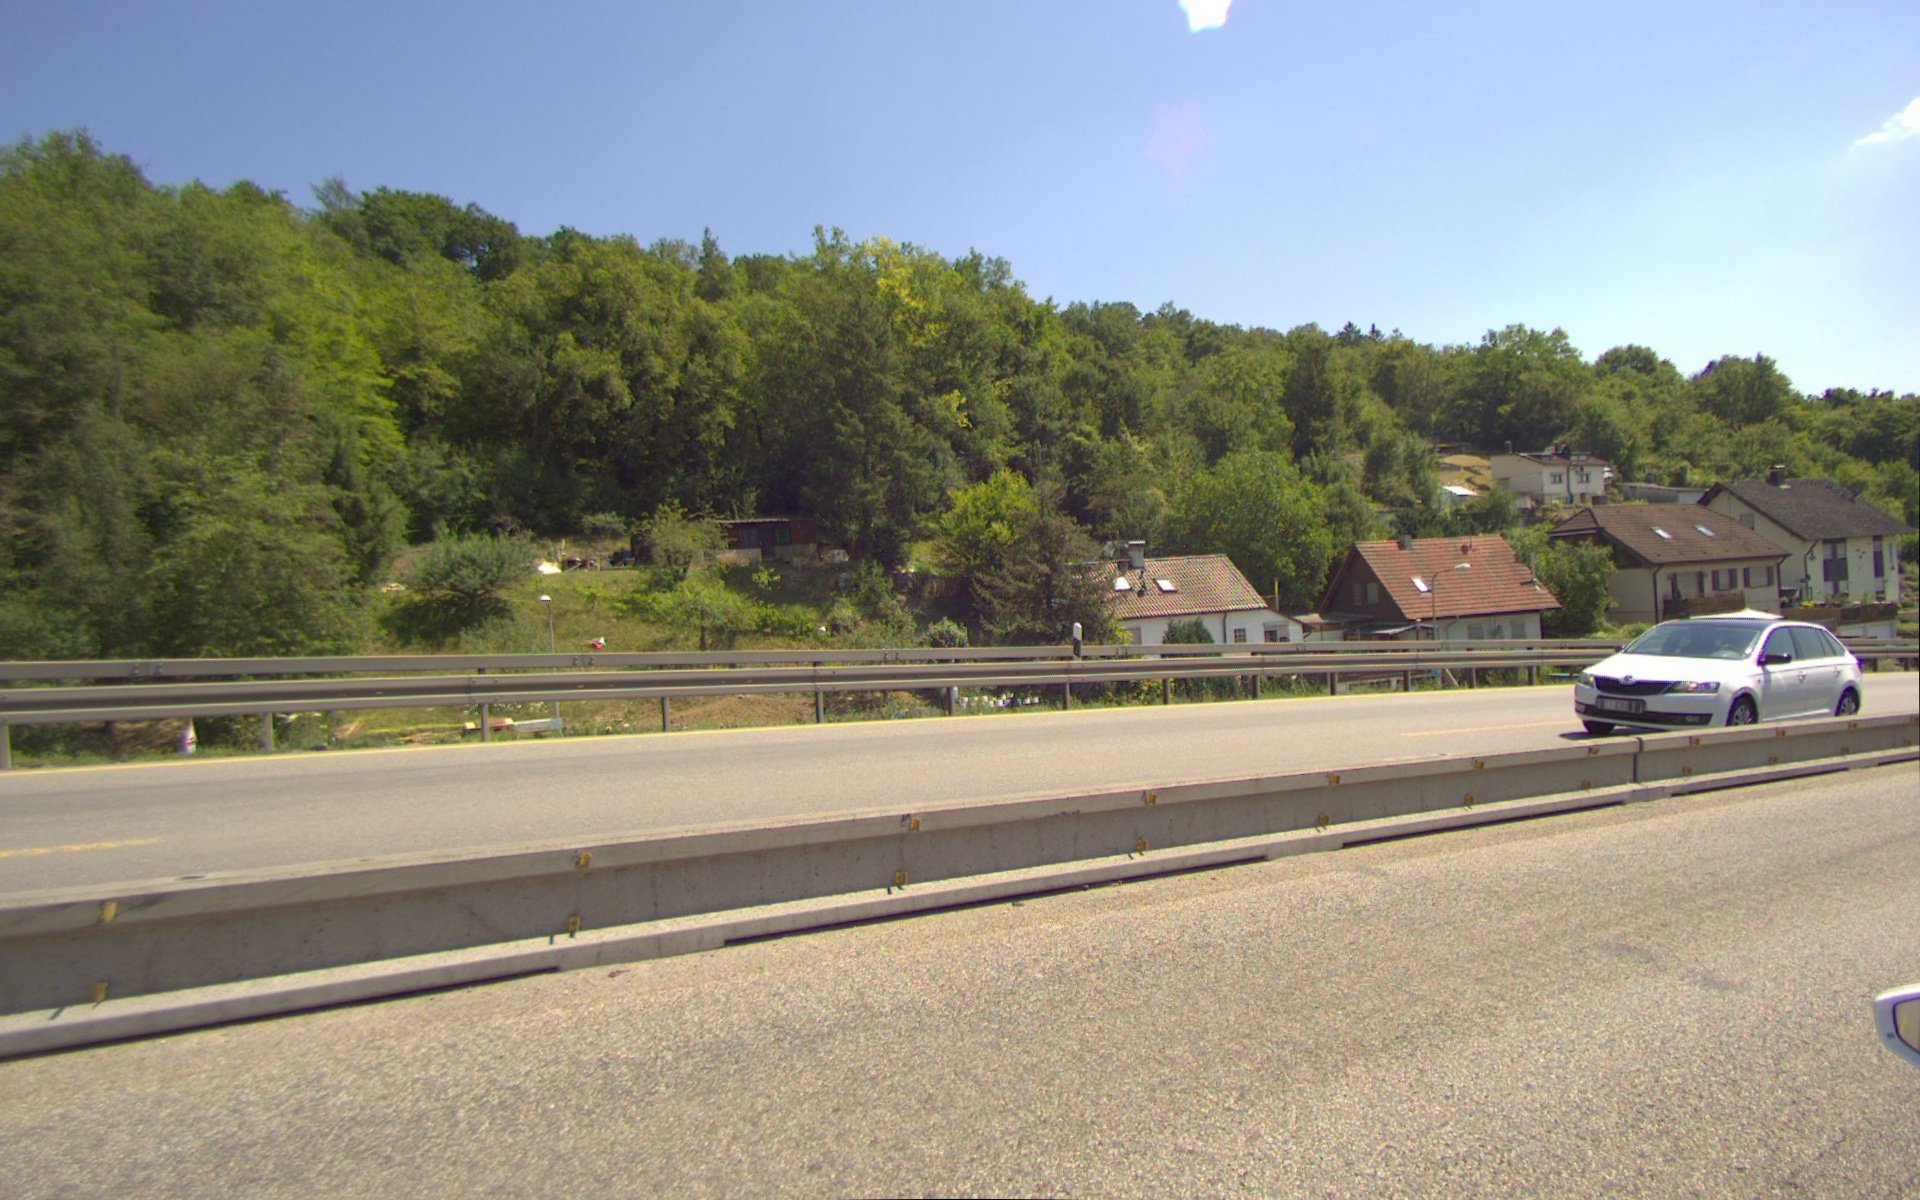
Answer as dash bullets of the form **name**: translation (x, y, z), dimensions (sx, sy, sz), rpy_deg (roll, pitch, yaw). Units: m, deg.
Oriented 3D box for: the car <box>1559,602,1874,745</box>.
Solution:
- **car**: translation (9.455, 0.855, 12.491), dimensions (4.103, 1.542, 1.575), rpy_deg (2, -1, -29)
